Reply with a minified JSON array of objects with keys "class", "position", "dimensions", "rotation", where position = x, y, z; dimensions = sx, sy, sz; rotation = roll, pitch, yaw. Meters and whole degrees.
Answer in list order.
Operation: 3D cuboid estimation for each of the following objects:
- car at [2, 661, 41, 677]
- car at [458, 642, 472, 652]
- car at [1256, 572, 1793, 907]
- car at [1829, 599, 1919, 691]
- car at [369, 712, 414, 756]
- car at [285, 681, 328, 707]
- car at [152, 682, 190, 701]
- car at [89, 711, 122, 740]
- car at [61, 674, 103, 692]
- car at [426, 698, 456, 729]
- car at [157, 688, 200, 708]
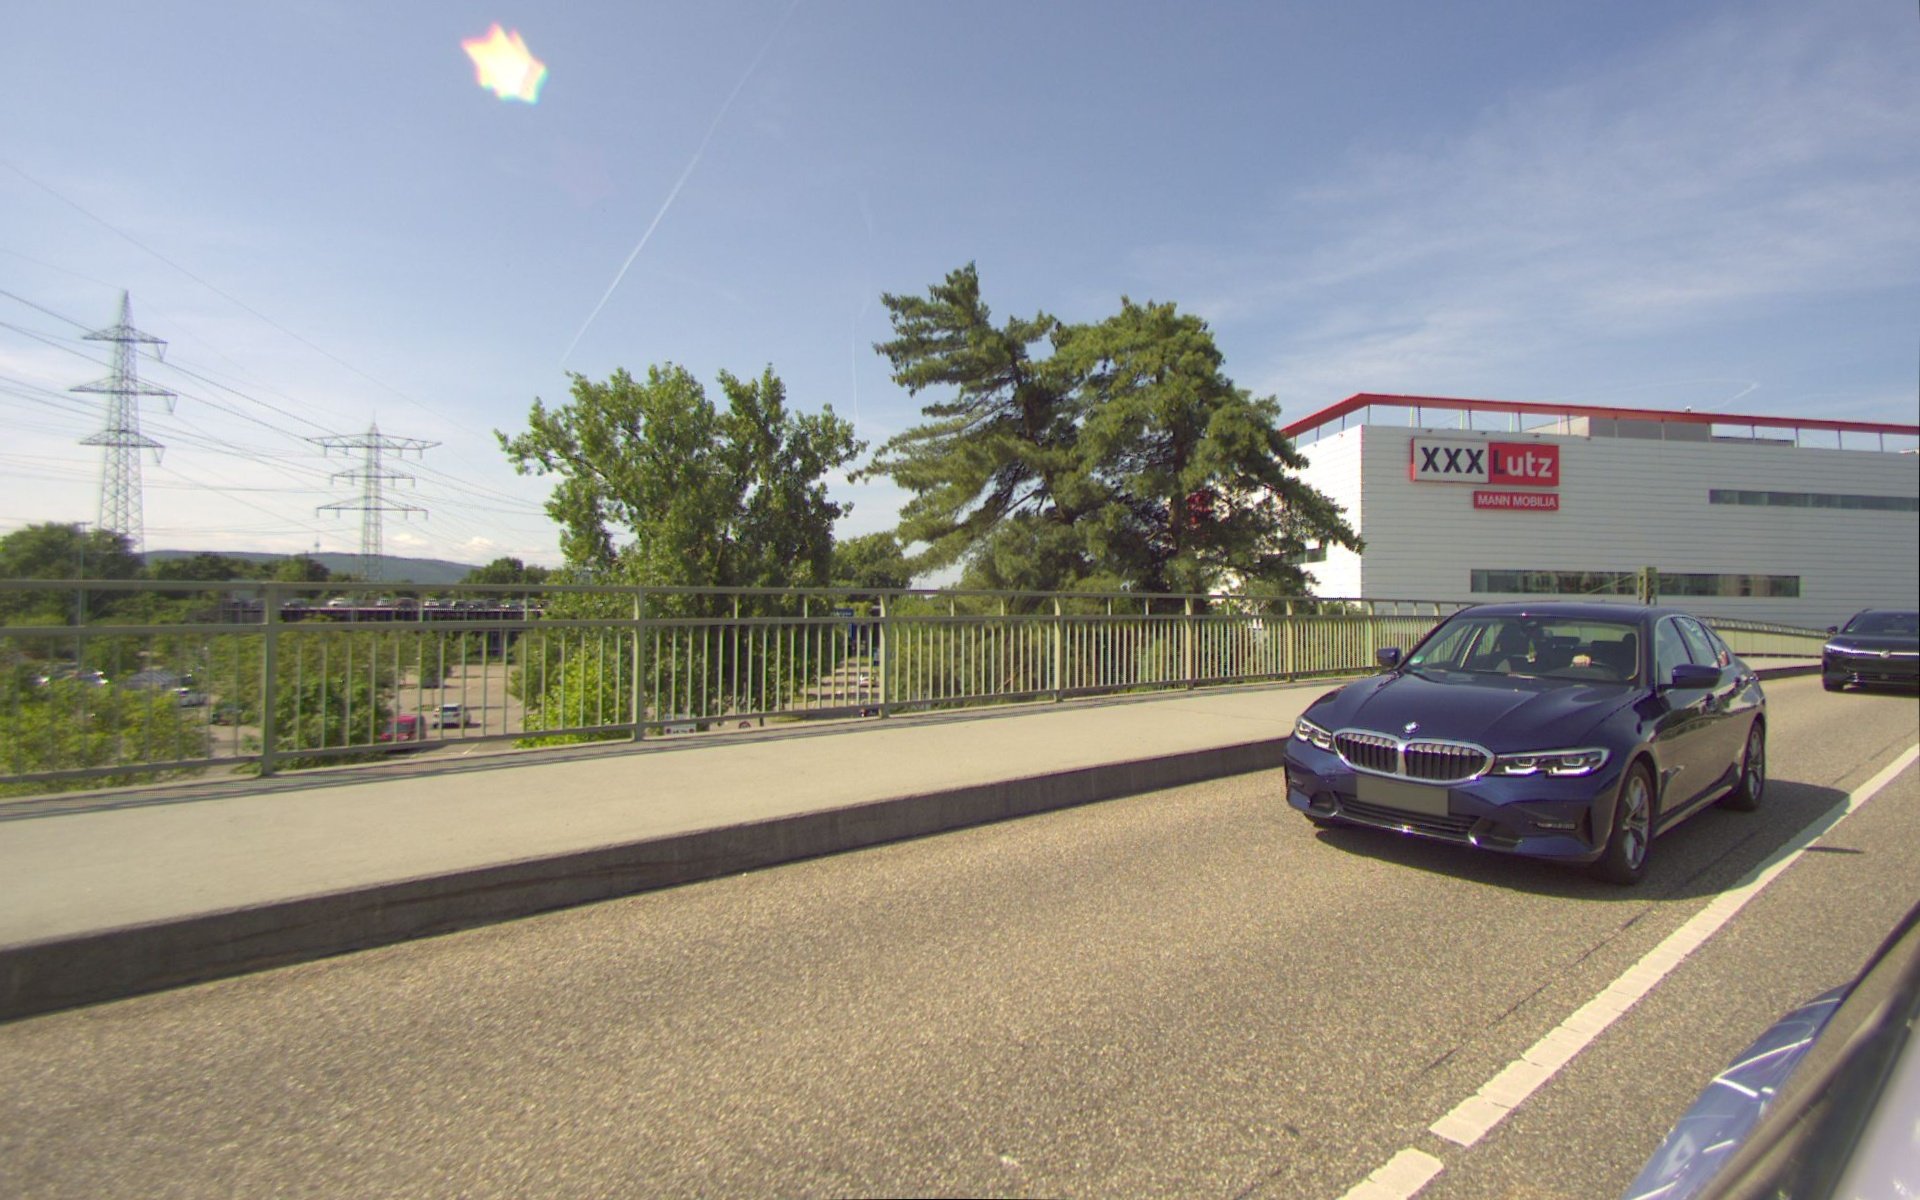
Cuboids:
[{"class":"car","position":[-95.101,6.958,102.545],"dimensions":[1.365,1.377,3.164],"rotation":[1,0,-10]},{"class":"car","position":[-76.592,7.262,156.620],"dimensions":[1.364,1.377,3.165],"rotation":[1,0,-15]},{"class":"car","position":[3.959,0.642,6.714],"dimensions":[4.442,1.502,1.790],"rotation":[1,-1,-42]},{"class":"car","position":[17.439,0.783,18.522],"dimensions":[4.073,1.549,1.858],"rotation":[1,-1,-42]},{"class":"car","position":[-32.254,7.552,57.389],"dimensions":[1.961,1.914,4.002],"rotation":[1,0,-33]},{"class":"car","position":[-54.213,7.806,84.036],"dimensions":[1.958,1.746,4.008],"rotation":[1,0,-17]},{"class":"car","position":[-71.116,8.248,91.232],"dimensions":[1.365,1.377,3.164],"rotation":[1,0,-10]},{"class":"car","position":[-53.654,7.877,63.568],"dimensions":[1.368,1.377,3.157],"rotation":[2,-1,-37]},{"class":"car","position":[-77.811,7.350,89.692],"dimensions":[1.365,1.377,3.164],"rotation":[1,0,-10]},{"class":"car","position":[-35.192,7.660,68.652],"dimensions":[1.734,1.638,4.006],"rotation":[1,0,-26]},{"class":"car","position":[-63.511,7.959,82.289],"dimensions":[1.365,1.377,3.164],"rotation":[1,0,-10]}]
